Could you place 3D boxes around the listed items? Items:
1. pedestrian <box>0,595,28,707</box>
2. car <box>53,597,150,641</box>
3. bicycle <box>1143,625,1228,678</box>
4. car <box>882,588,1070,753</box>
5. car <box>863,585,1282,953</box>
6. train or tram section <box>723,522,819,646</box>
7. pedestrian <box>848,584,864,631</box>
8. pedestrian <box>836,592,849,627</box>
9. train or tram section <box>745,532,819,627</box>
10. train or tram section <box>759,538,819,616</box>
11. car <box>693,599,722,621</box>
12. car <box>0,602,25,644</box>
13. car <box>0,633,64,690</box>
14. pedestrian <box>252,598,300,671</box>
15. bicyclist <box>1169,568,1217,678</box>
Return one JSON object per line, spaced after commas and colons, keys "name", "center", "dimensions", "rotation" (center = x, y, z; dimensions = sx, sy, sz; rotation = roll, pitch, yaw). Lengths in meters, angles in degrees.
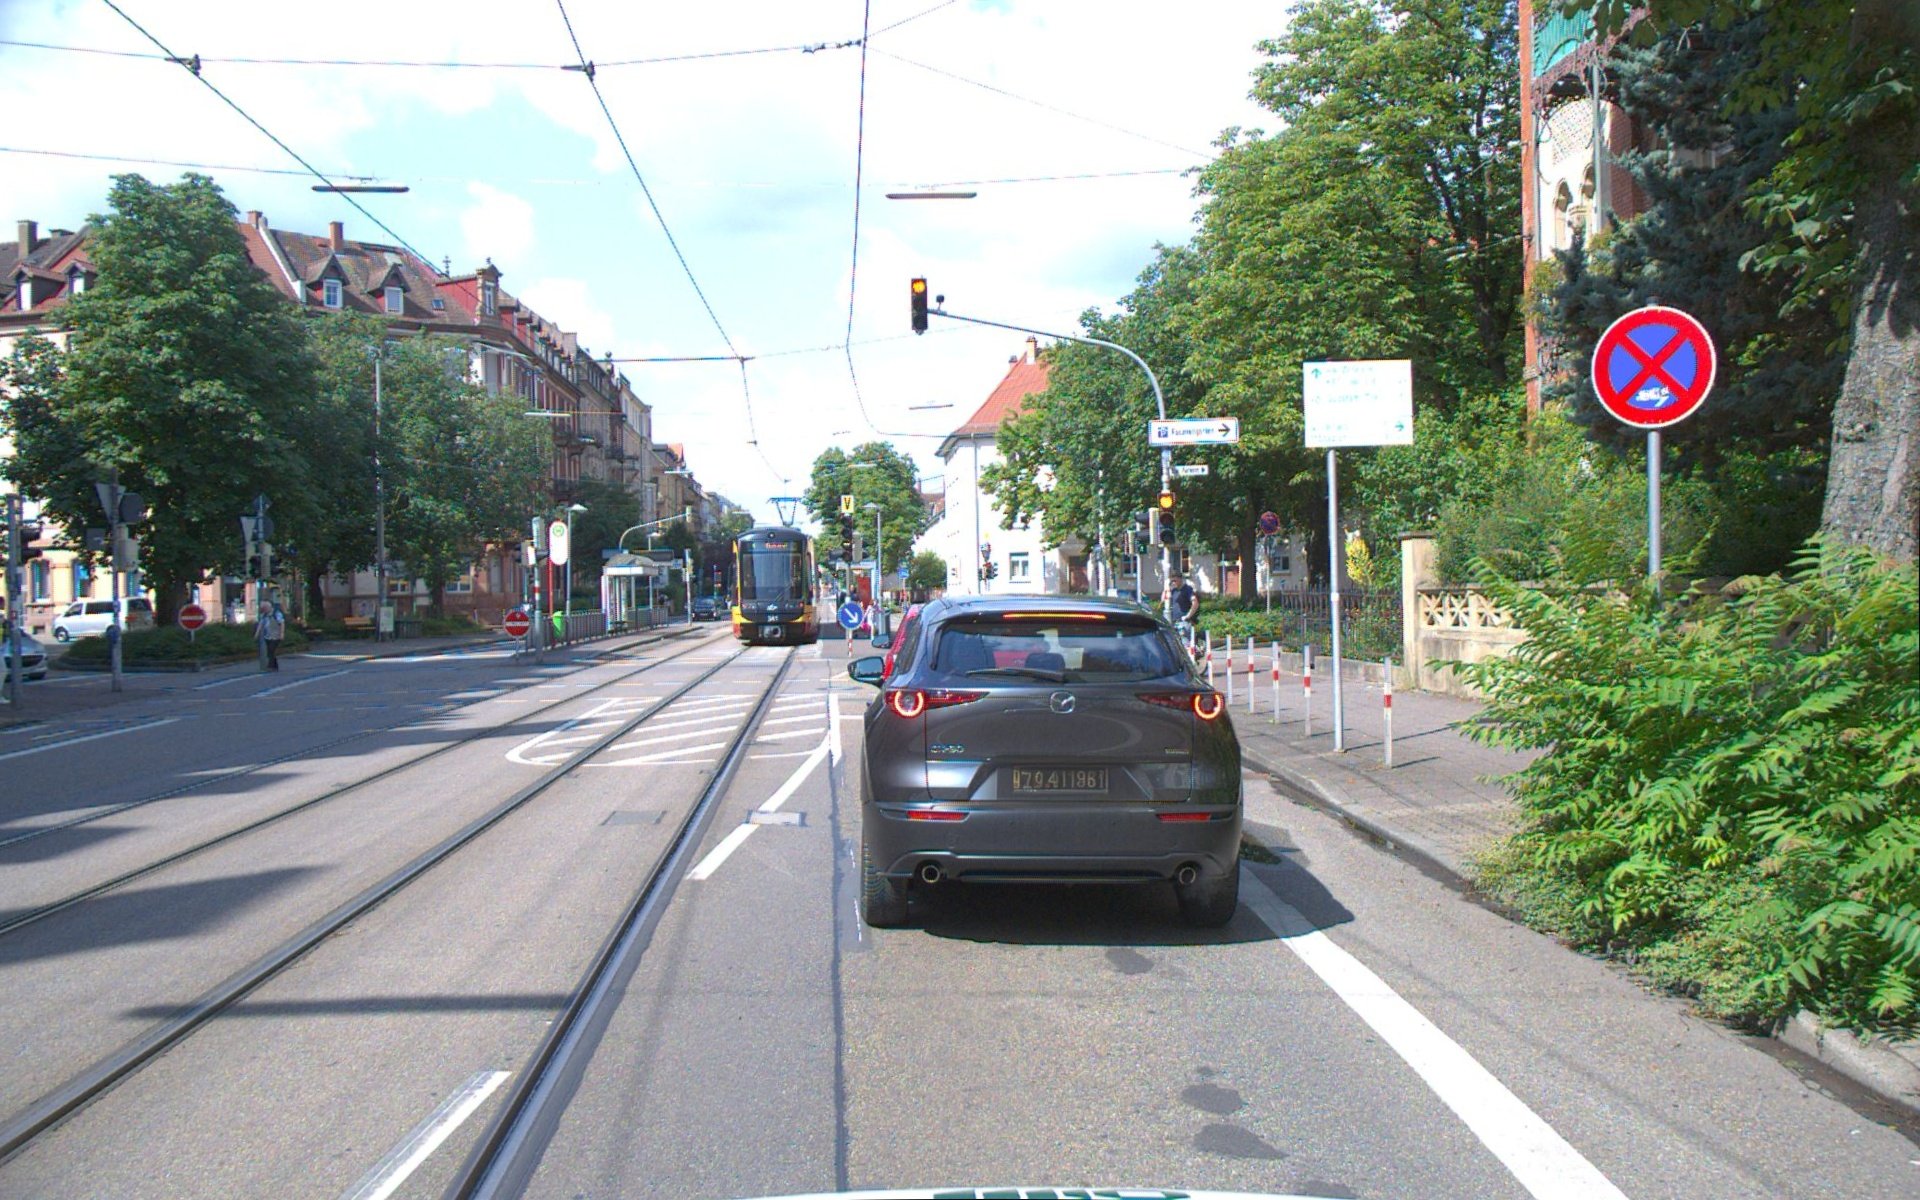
{"name": "pedestrian", "center": [-15.740, 0.824, 26.884], "dimensions": [0.668, 1.785, 0.802], "rotation": [-1, 0, 4]}
{"name": "car", "center": [-40.165, 0.878, 77.379], "dimensions": [3.906, 1.937, 1.999], "rotation": [-1, 0, 23]}
{"name": "bicycle", "center": [3.889, 0.866, 28.418], "dimensions": [1.685, 0.838, 0.487], "rotation": [-1, 0, -43]}
{"name": "car", "center": [0.104, 0.654, 17.557], "dimensions": [1.742, 1.526, 3.999], "rotation": [1, 0, -1]}
{"name": "car", "center": [0.428, 0.702, 8.944], "dimensions": [1.742, 1.526, 3.999], "rotation": [1, 0, -1]}
{"name": "train or tram section", "center": [-6.115, -0.617, 55.344], "dimensions": [2.699, 3.551, 14.394], "rotation": [-1, 1, -5]}
{"name": "pedestrian", "center": [-3.291, 0.229, 52.267], "dimensions": [0.441, 1.459, 0.474], "rotation": [-1, 0, -6]}
{"name": "pedestrian", "center": [-3.710, 0.305, 52.188], "dimensions": [0.372, 1.089, 0.474], "rotation": [-1, 0, -6]}
{"name": "train or tram section", "center": [-7.344, -0.923, 69.660], "dimensions": [2.699, 3.551, 14.394], "rotation": [-1, 1, -5]}
{"name": "train or tram section", "center": [-8.565, -1.231, 83.987], "dimensions": [2.699, 3.551, 14.394], "rotation": [-1, 1, -5]}
{"name": "car", "center": [-16.165, 0.625, 105.947], "dimensions": [1.583, 1.333, 3.624], "rotation": [-1, 0, -4]}
{"name": "car", "center": [-39.672, 0.939, 65.650], "dimensions": [3.906, 1.624, 2.000], "rotation": [-1, 0, -1]}
{"name": "car", "center": [-22.373, 1.400, 37.775], "dimensions": [3.916, 1.203, 1.674], "rotation": [-1, 0, 33]}
{"name": "pedestrian", "center": [-16.491, 0.826, 39.868], "dimensions": [0.804, 1.735, 0.719], "rotation": [-1, 0, 4]}
{"name": "bicyclist", "center": [3.947, 0.385, 28.021], "dimensions": [0.597, 1.824, 0.656], "rotation": [-1, 0, -11]}
